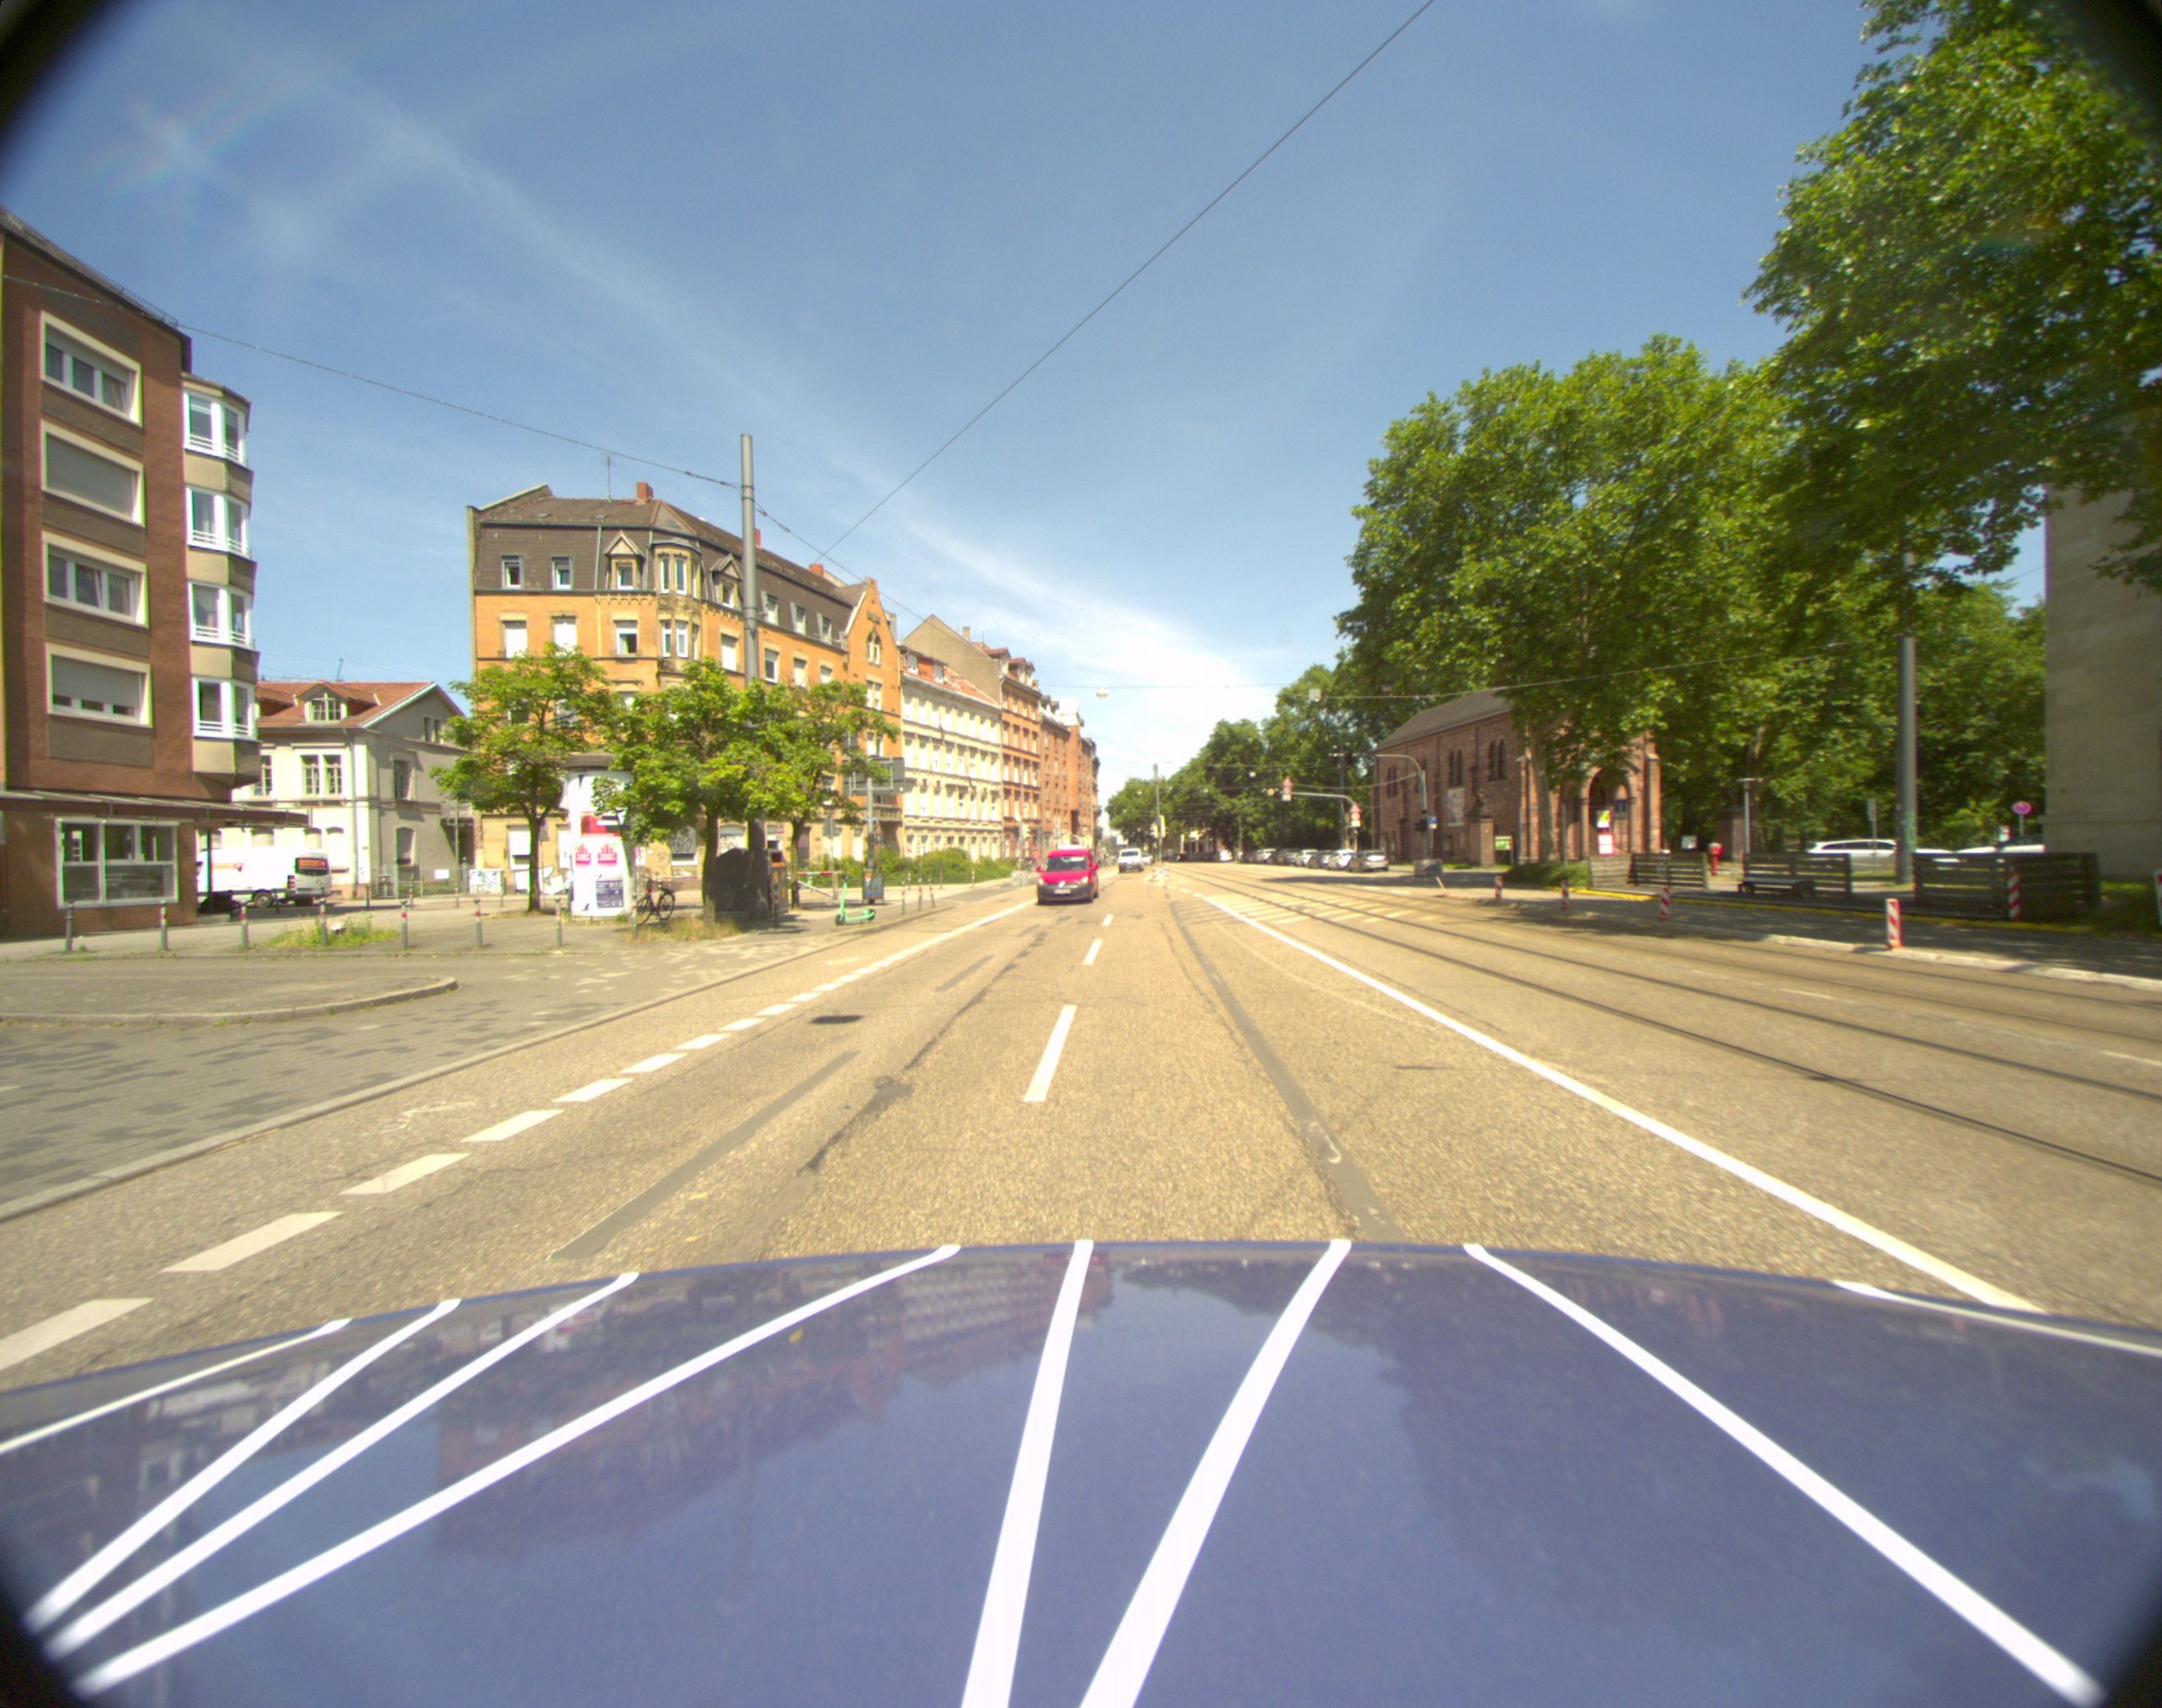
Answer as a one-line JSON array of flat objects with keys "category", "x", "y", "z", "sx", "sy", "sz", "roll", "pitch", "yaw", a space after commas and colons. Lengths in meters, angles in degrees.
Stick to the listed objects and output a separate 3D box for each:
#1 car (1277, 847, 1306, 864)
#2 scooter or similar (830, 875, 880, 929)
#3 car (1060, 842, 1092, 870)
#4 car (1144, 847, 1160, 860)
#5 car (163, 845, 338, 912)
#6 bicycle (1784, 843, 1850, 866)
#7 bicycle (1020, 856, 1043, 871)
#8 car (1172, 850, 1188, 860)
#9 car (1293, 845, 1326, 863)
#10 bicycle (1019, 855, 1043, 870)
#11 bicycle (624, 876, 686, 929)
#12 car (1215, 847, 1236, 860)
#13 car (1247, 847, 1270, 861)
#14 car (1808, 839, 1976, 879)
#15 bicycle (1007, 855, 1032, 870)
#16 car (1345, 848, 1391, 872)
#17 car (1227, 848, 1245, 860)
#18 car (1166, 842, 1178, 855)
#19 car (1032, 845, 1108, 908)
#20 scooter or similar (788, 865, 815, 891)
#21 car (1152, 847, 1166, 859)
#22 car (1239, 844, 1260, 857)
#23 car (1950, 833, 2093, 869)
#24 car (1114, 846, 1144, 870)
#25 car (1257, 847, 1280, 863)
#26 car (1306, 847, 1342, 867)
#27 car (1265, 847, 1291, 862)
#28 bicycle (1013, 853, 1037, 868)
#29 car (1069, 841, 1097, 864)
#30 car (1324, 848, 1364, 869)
[{"category": "car", "x": 19.871, "y": 0.130, "z": 71.800, "sx": 1.747, "sy": 1.515, "sz": 3.753, "roll": -2, "pitch": 1, "yaw": 1}, {"category": "scooter or similar", "x": -5.325, "y": 1.115, "z": 17.937, "sx": 0.390, "sy": 1.207, "sz": 1.182, "roll": 3, "pitch": 0, "yaw": 26}, {"category": "car", "x": -0.404, "y": 0.154, "z": 66.683, "sx": 1.997, "sy": 2.317, "sz": 5.409, "roll": 1, "pitch": 1, "yaw": 7}, {"category": "car", "x": 8.669, "y": -0.081, "z": 93.283, "sx": 1.800, "sy": 1.565, "sz": 4.001, "roll": -2, "pitch": 1, "yaw": 4}, {"category": "car", "x": -36.506, "y": 1.036, "z": 33.524, "sx": 5.216, "sy": 2.607, "sz": 1.999, "roll": -2, "pitch": 1, "yaw": -3}, {"category": "bicycle", "x": 31.069, "y": 0.019, "z": 32.123, "sx": 0.644, "sy": 0.895, "sz": 1.905, "roll": -3, "pitch": 1, "yaw": -18}, {"category": "bicycle", "x": -4.272, "y": 0.821, "z": 65.564, "sx": 1.918, "sy": 1.174, "sz": 0.493, "roll": -2, "pitch": 1, "yaw": 7}, {"category": "car", "x": 14.785, "y": 0.185, "z": 113.856, "sx": 1.750, "sy": 1.387, "sz": 4.346, "roll": -3, "pitch": 1, "yaw": 0}, {"category": "car", "x": 19.989, "y": -0.019, "z": 66.519, "sx": 1.747, "sy": 1.450, "sz": 3.753, "roll": -2, "pitch": 1, "yaw": 1}, {"category": "bicycle", "x": -4.295, "y": 0.745, "z": 64.788, "sx": 1.918, "sy": 1.174, "sz": 0.493, "roll": -2, "pitch": 1, "yaw": 7}, {"category": "bicycle", "x": -10.202, "y": 1.137, "z": 18.252, "sx": 0.487, "sy": 1.146, "sz": 1.708, "roll": -2, "pitch": 1, "yaw": -1}, {"category": "car", "x": 19.975, "y": -0.088, "z": 105.311, "sx": 1.977, "sy": 1.554, "sz": 3.999, "roll": -2, "pitch": 1, "yaw": -1}, {"category": "car", "x": 20.571, "y": -0.056, "z": 88.232, "sx": 1.747, "sy": 1.489, "sz": 4.188, "roll": -2, "pitch": 1, "yaw": 1}, {"category": "car", "x": 33.805, "y": 0.213, "z": 31.814, "sx": 1.918, "sy": 1.500, "sz": 4.524, "roll": -3, "pitch": 1, "yaw": -32}, {"category": "bicycle", "x": -5.001, "y": 0.699, "z": 62.239, "sx": 1.918, "sy": 1.174, "sz": 0.493, "roll": -2, "pitch": 1, "yaw": 7}, {"category": "car", "x": 19.337, "y": 0.386, "z": 51.408, "sx": 1.662, "sy": 1.450, "sz": 4.221, "roll": -2, "pitch": 1, "yaw": 2}, {"category": "car", "x": 20.133, "y": 0.000, "z": 98.670, "sx": 1.649, "sy": 1.372, "sz": 3.765, "roll": -2, "pitch": 1, "yaw": 1}, {"category": "car", "x": 16.958, "y": -1.082, "z": 141.931, "sx": 1.821, "sy": 2.284, "sz": 3.761, "roll": -2, "pitch": 1, "yaw": 0}, {"category": "car", "x": -0.235, "y": 0.659, "z": 25.563, "sx": 1.858, "sy": 1.824, "sz": 5.168, "roll": -2, "pitch": 1, "yaw": 6}, {"category": "scooter or similar", "x": -13.904, "y": 1.166, "z": 37.798, "sx": 0.490, "sy": 1.198, "sz": 1.489, "roll": -2, "pitch": 1, "yaw": 11}, {"category": "car", "x": 10.963, "y": -0.130, "z": 107.141, "sx": 1.800, "sy": 1.565, "sz": 4.001, "roll": -2, "pitch": 1, "yaw": 4}, {"category": "car", "x": 20.732, "y": -0.426, "z": 93.544, "sx": 1.747, "sy": 1.489, "sz": 4.188, "roll": -2, "pitch": 1, "yaw": 1}, {"category": "car", "x": 39.804, "y": -0.111, "z": 32.239, "sx": 1.723, "sy": 1.368, "sz": 3.586, "roll": -3, "pitch": 1, "yaw": -29}, {"category": "car", "x": 4.023, "y": 0.300, "z": 64.351, "sx": 2.165, "sy": 1.927, "sz": 4.854, "roll": -2, "pitch": 1, "yaw": 1}, {"category": "car", "x": 20.338, "y": 0.086, "z": 82.496, "sx": 1.747, "sy": 1.643, "sz": 3.906, "roll": -2, "pitch": 1, "yaw": 3}, {"category": "car", "x": 19.560, "y": 0.229, "z": 61.347, "sx": 1.662, "sy": 1.450, "sz": 4.058, "roll": -2, "pitch": 1, "yaw": 1}, {"category": "car", "x": 19.983, "y": 0.053, "z": 77.233, "sx": 1.671, "sy": 1.368, "sz": 4.000, "roll": -2, "pitch": 1, "yaw": 1}, {"category": "bicycle", "x": -4.656, "y": 0.527, "z": 63.273, "sx": 1.918, "sy": 1.174, "sz": 0.493, "roll": -2, "pitch": 1, "yaw": 7}, {"category": "car", "x": 0.282, "y": -0.183, "z": 72.394, "sx": 1.997, "sy": 2.124, "sz": 5.274, "roll": 1, "pitch": 1, "yaw": 7}, {"category": "car", "x": 19.403, "y": 0.313, "z": 56.303, "sx": 1.662, "sy": 1.450, "sz": 4.059, "roll": -2, "pitch": 1, "yaw": 2}]
